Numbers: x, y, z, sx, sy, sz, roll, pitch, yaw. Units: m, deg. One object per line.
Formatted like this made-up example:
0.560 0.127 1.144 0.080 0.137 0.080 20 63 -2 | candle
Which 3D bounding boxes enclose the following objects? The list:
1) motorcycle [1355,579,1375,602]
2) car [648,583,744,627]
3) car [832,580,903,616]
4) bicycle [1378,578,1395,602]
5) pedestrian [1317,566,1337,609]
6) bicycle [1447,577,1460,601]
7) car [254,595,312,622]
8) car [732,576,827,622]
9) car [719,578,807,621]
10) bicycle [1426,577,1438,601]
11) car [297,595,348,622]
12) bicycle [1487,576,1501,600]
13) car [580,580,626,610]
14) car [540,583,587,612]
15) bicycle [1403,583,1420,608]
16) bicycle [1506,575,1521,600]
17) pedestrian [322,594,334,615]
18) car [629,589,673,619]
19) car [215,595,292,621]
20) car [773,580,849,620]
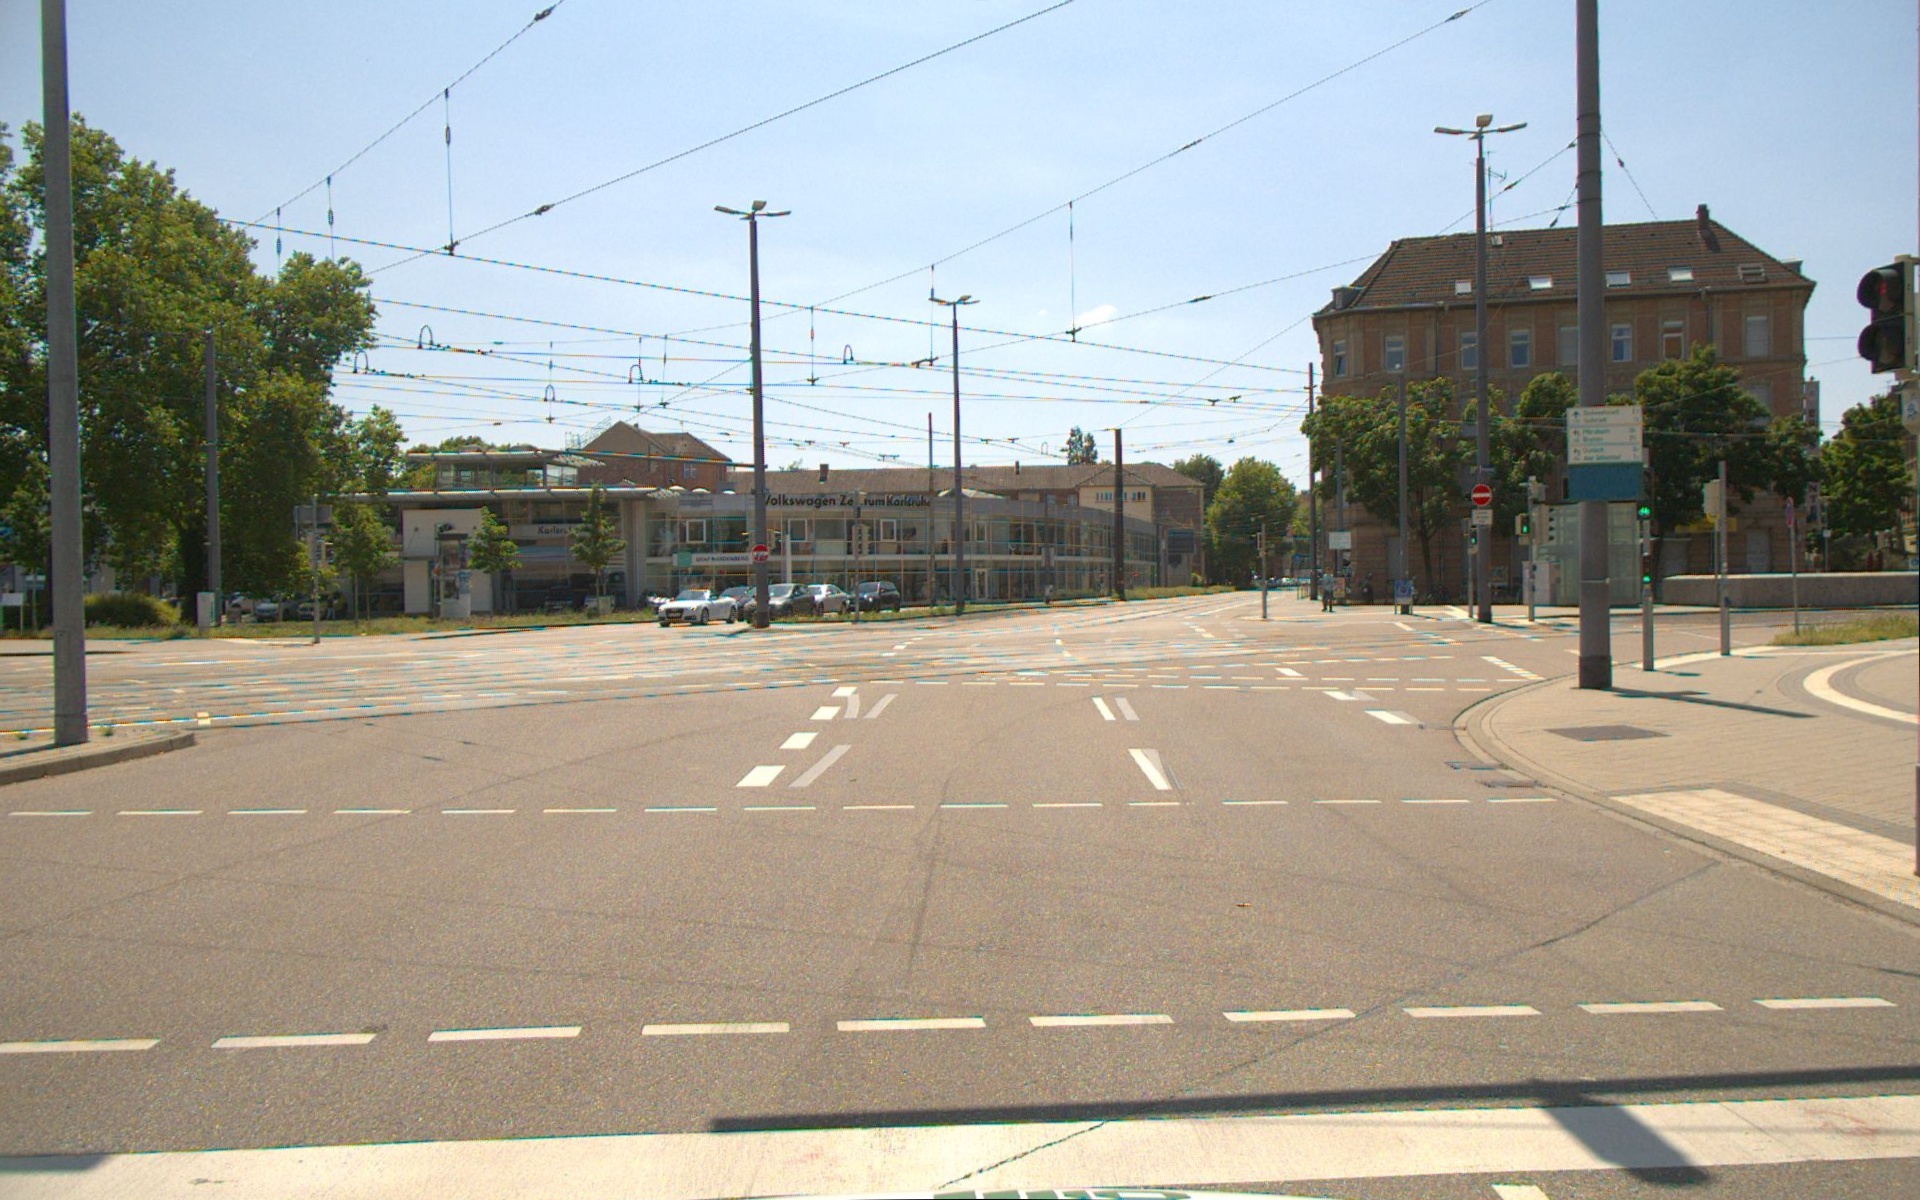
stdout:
19.447 -0.446 79.460 0.568 1.093 1.947 -1 0 3 | motorcycle
-10.159 0.154 64.025 2.032 1.607 4.850 -1 1 13 | car
-4.609 -0.131 83.048 2.034 1.712 4.850 -1 1 16 | car
20.460 -0.487 79.352 0.539 1.139 1.821 -1 0 6 | bicycle
14.969 -0.509 67.487 0.456 1.738 0.633 -1 0 -31 | pedestrian
23.531 -0.534 78.821 0.539 1.139 1.822 -1 0 15 | bicycle
-41.288 0.484 101.000 1.731 1.536 4.327 -1 1 0 | car
-6.979 -0.066 64.384 1.951 1.666 4.850 -1 1 16 | car
-8.322 -0.055 70.192 1.951 1.730 4.850 -1 1 16 | car
22.564 -0.528 79.086 0.539 1.139 1.822 -1 0 15 | bicycle
-38.765 0.485 100.592 1.732 1.536 4.322 -1 1 -5 | car
25.534 -0.584 79.050 0.539 1.139 1.872 -1 0 15 | bicycle
-21.489 -0.294 99.736 1.881 1.737 4.000 1 0 0 | car
-23.870 -0.134 99.680 1.881 1.737 4.000 1 0 0 | car
21.655 -0.209 79.375 0.433 1.166 2.095 1 0 6 | bicycle
26.516 -0.608 79.259 0.539 1.139 1.931 -1 0 15 | bicycle
-37.057 0.279 96.922 0.502 1.225 0.446 -1 0 5 | pedestrian
-18.656 0.223 99.869 1.881 1.737 4.000 1 0 0 | car
-45.422 0.493 106.389 4.279 1.536 1.750 -1 1 -36 | car
-6.817 -0.020 76.158 1.951 1.770 4.546 -1 1 16 | car
